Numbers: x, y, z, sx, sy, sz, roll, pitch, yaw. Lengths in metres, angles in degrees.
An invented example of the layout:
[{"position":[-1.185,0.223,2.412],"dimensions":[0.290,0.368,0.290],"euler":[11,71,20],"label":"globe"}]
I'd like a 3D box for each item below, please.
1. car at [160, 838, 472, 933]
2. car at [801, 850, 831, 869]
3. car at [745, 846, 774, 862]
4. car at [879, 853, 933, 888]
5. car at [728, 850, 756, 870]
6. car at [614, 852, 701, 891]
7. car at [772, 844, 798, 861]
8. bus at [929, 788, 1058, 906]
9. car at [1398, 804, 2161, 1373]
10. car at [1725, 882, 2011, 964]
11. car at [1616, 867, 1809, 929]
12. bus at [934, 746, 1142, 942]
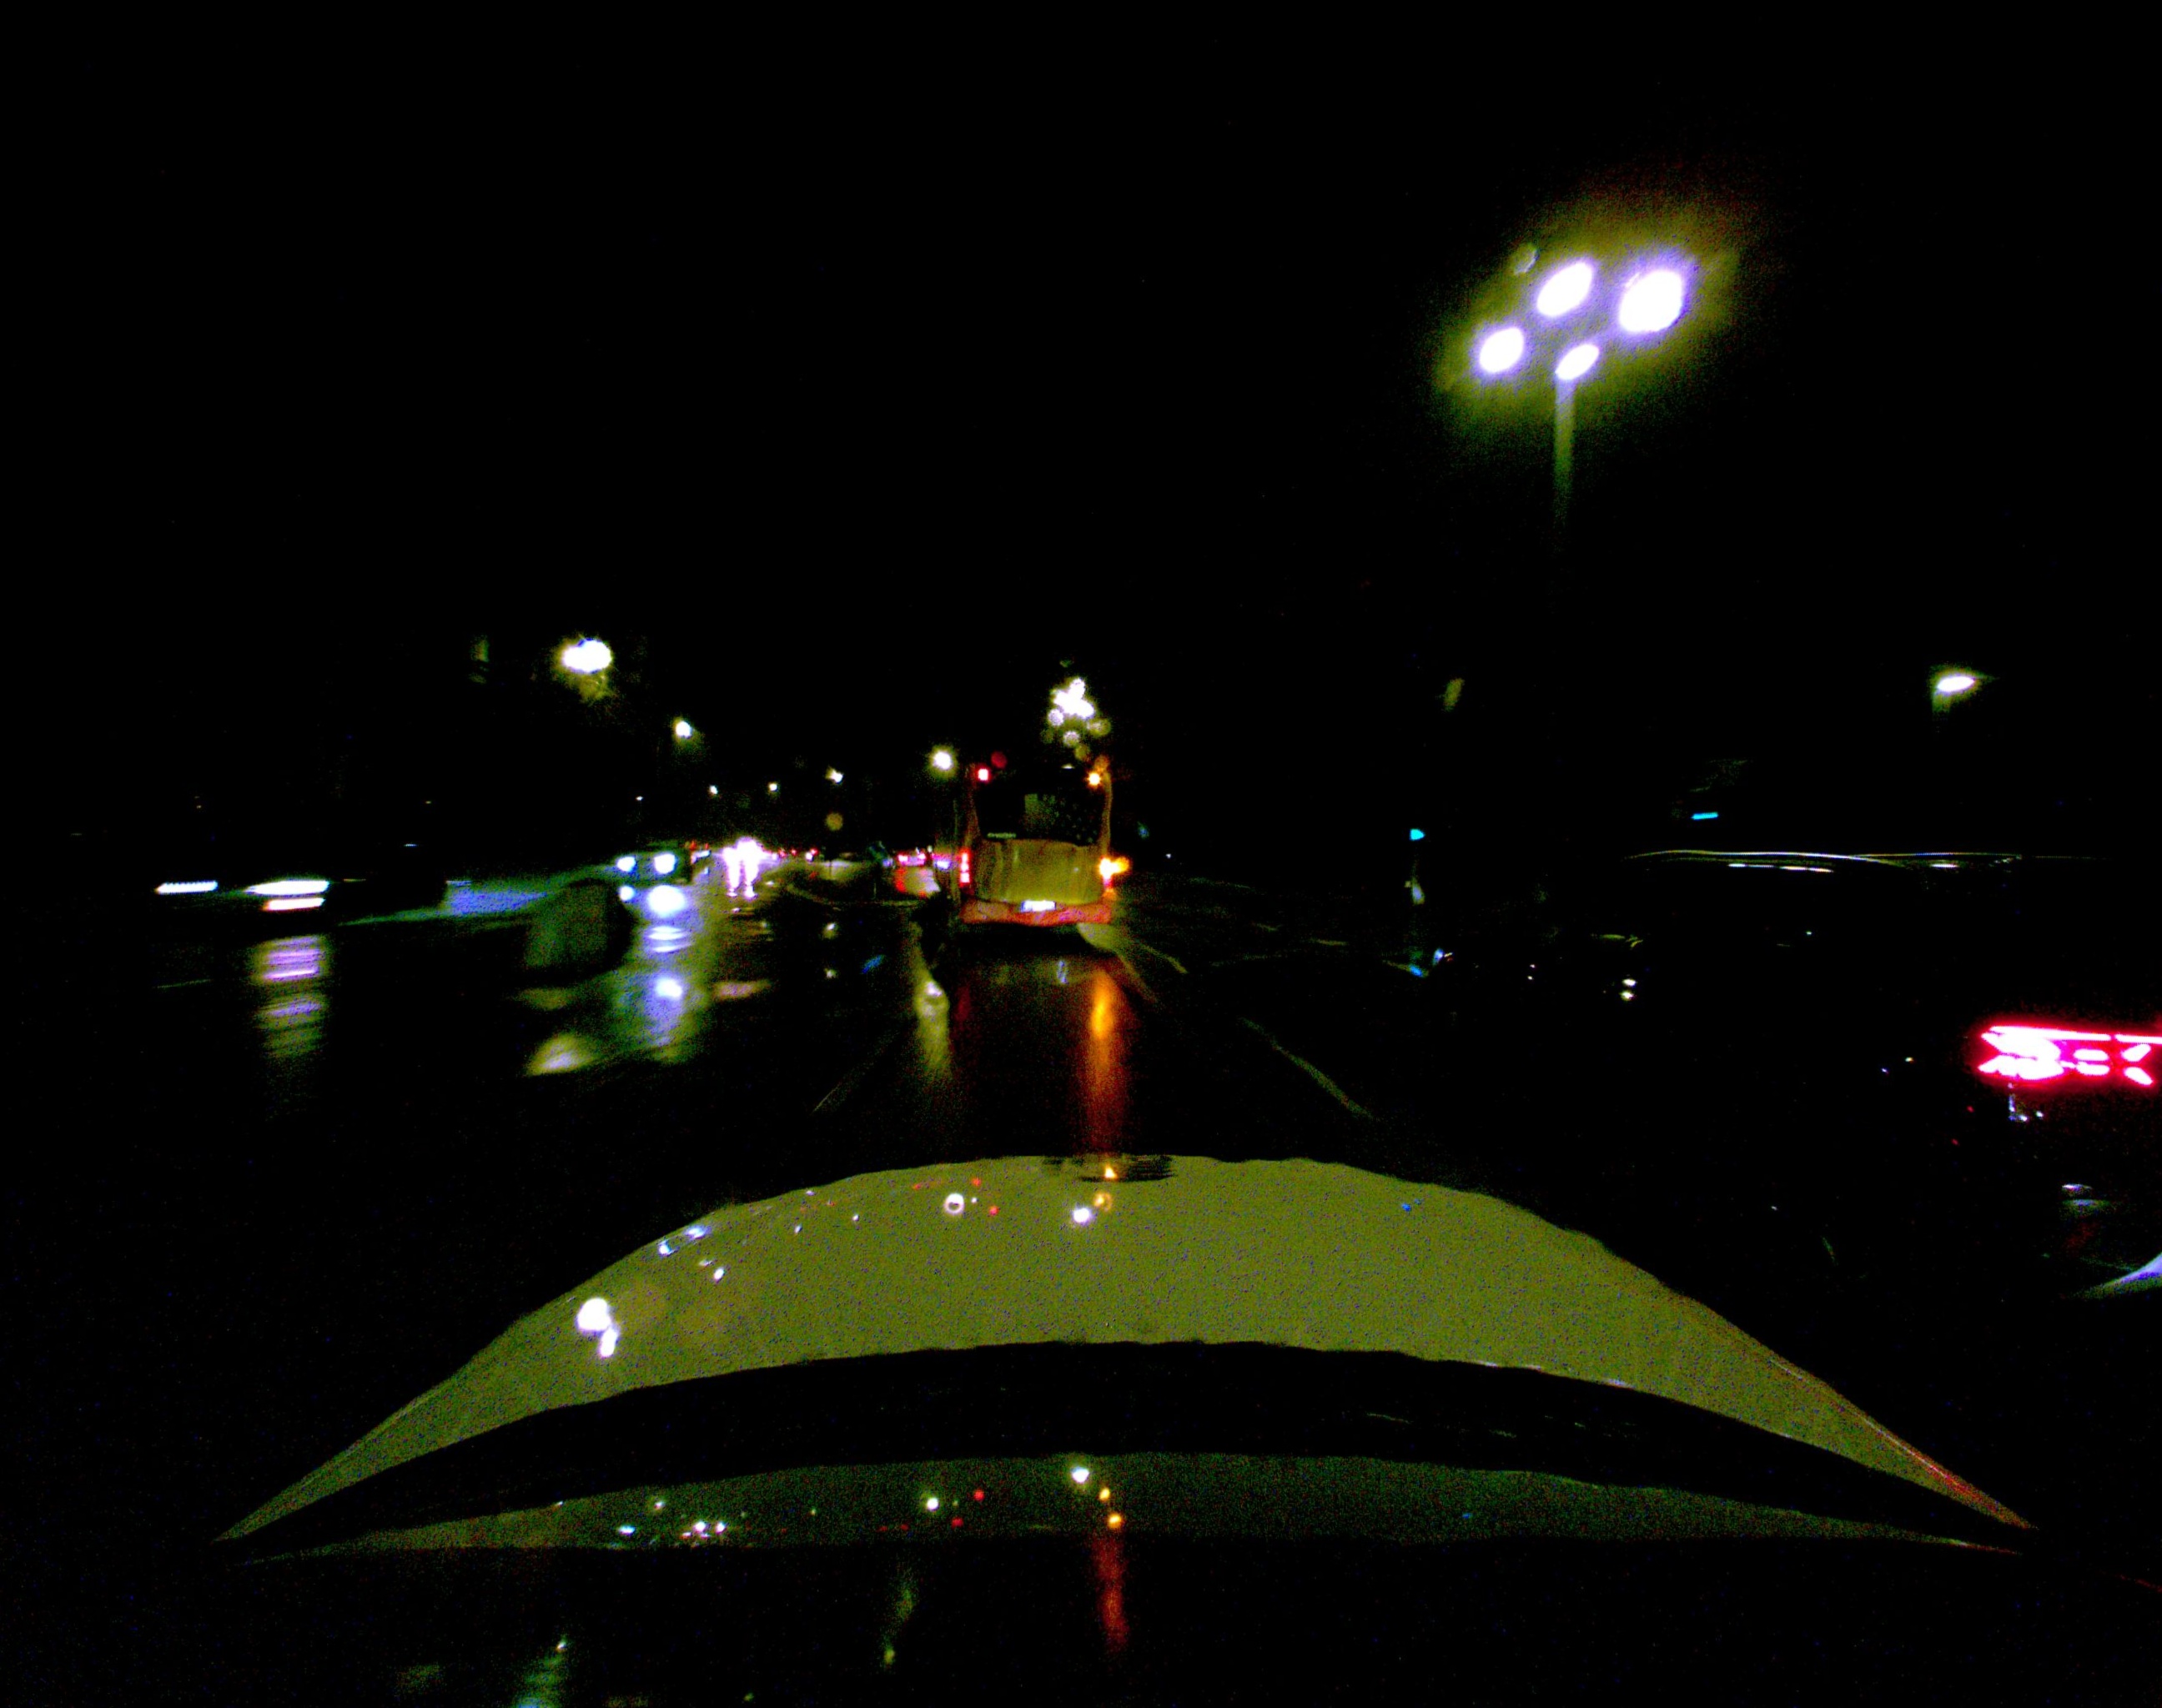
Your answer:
[{"position":[-13.573,0.507,14.927],"dimensions":[1.777,1.460,4.468],"euler":[1,0,-6],"label":"car"},{"position":[-23.649,0.490,72.592],"dimensions":[1.826,1.618,3.964],"euler":[3,-2,-28],"label":"car"},{"position":[-37.565,-0.024,95.107],"dimensions":[2.104,1.644,3.690],"euler":[6,-2,-36],"label":"car"},{"position":[-10.701,0.987,49.633],"dimensions":[2.005,2.014,4.309],"euler":[3,-2,-28],"label":"car"},{"position":[-26.713,0.473,64.221],"dimensions":[1.830,1.448,4.627],"euler":[3,-1,-21],"label":"car"},{"position":[-16.660,0.650,32.288],"dimensions":[1.807,1.353,4.129],"euler":[-3,0,-10],"label":"car"},{"position":[-31.174,-0.143,85.633],"dimensions":[1.827,1.618,3.961],"euler":[3,-2,-30],"label":"car"},{"position":[-3.194,-0.247,26.793],"dimensions":[3.250,3.120,8.610],"euler":[3,0,-12],"label":"bus"},{"position":[3.348,0.698,4.226],"dimensions":[1.673,1.522,3.955],"euler":[2,-1,-3],"label":"car"},{"position":[15.869,1.360,16.600],"dimensions":[4.025,1.345,1.749],"euler":[2,1,3],"label":"car"},{"position":[18.463,1.253,23.979],"dimensions":[4.146,1.519,1.859],"euler":[2,1,3],"label":"car"},{"position":[-1.430,-0.123,17.825],"dimensions":[3.285,3.050,9.512],"euler":[2,0,-9],"label":"bus"}]
